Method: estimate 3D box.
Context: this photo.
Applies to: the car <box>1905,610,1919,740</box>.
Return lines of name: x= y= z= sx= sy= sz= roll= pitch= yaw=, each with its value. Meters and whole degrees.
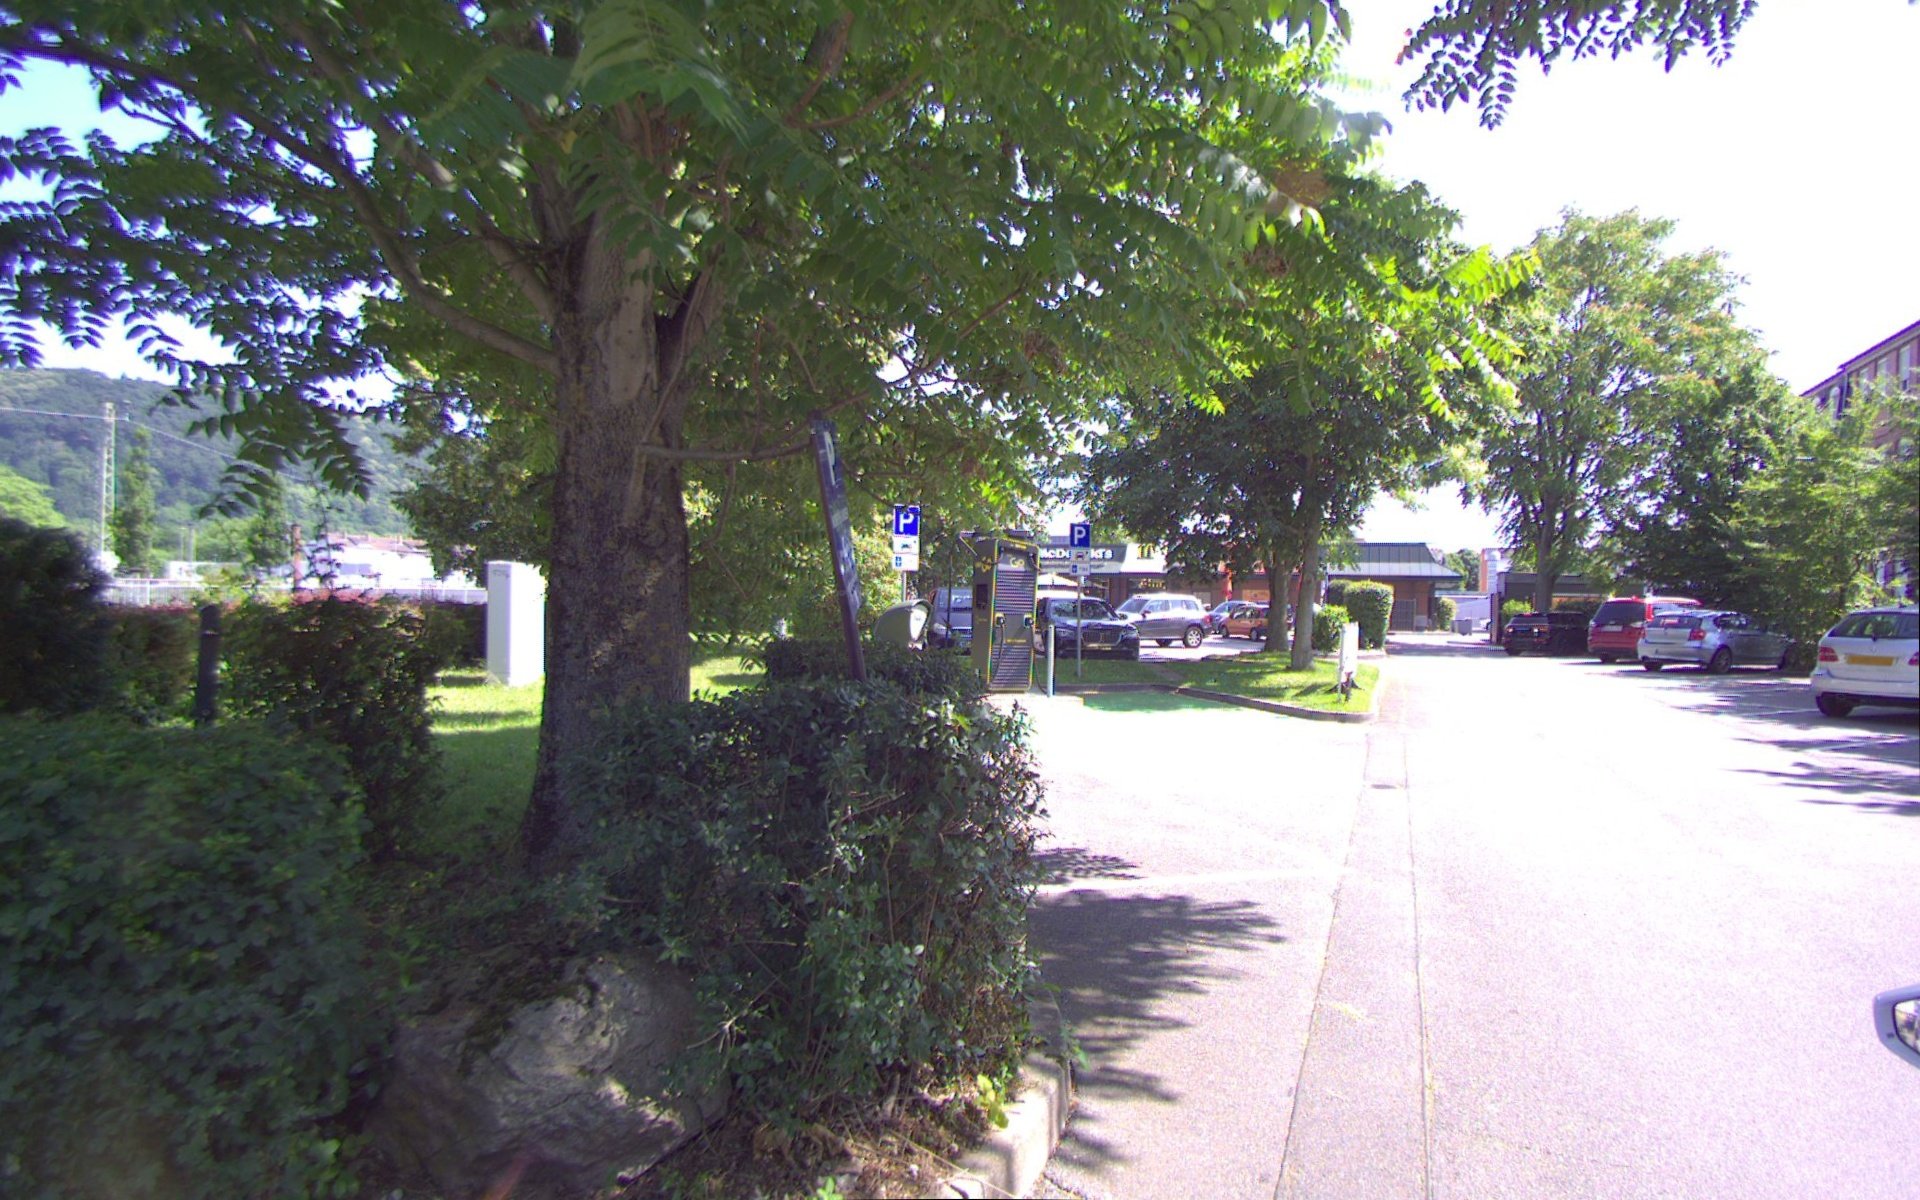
car: x=13.068 y=0.848 z=11.288 sx=3.933 sy=1.489 sz=1.769 roll=0 pitch=0 yaw=-15

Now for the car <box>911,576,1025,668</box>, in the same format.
car: x=0.058 y=0.421 z=22.009 sx=1.828 sy=1.708 sz=4.361 roll=3 pitch=0 yaw=-8

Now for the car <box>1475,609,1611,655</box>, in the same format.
car: x=18.726 y=1.026 z=32.256 sx=3.942 sy=1.407 sz=1.765 roll=1 pitch=-1 yaw=-22

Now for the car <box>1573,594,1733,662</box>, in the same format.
car: x=18.996 y=0.748 z=27.558 sx=3.942 sy=1.757 sz=1.765 roll=0 pitch=-2 yaw=-23

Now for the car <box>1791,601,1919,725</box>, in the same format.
car: x=14.071 y=0.827 z=14.138 sx=3.934 sy=1.593 sz=1.768 roll=0 pitch=0 yaw=-16

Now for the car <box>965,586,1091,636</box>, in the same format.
car: x=2.508 y=0.409 z=37.100 sx=4.250 sy=1.708 sz=1.852 roll=2 pitch=1 yaw=-22

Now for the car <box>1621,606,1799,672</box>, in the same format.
car: x=18.037 y=0.893 z=24.151 sx=3.944 sy=1.495 sz=1.764 roll=0 pitch=0 yaw=-24

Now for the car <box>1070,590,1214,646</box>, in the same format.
car: x=5.956 y=0.584 z=32.832 sx=4.305 sy=1.708 sz=1.852 roll=2 pitch=1 yaw=-23

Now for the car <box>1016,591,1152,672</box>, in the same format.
car: x=2.559 y=0.607 z=21.861 sx=1.828 sy=1.472 sz=4.361 roll=3 pitch=0 yaw=-8

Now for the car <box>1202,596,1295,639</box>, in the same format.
car: x=12.769 y=0.725 z=44.745 sx=1.833 sy=1.708 sz=4.348 roll=-1 pitch=1 yaw=-19
